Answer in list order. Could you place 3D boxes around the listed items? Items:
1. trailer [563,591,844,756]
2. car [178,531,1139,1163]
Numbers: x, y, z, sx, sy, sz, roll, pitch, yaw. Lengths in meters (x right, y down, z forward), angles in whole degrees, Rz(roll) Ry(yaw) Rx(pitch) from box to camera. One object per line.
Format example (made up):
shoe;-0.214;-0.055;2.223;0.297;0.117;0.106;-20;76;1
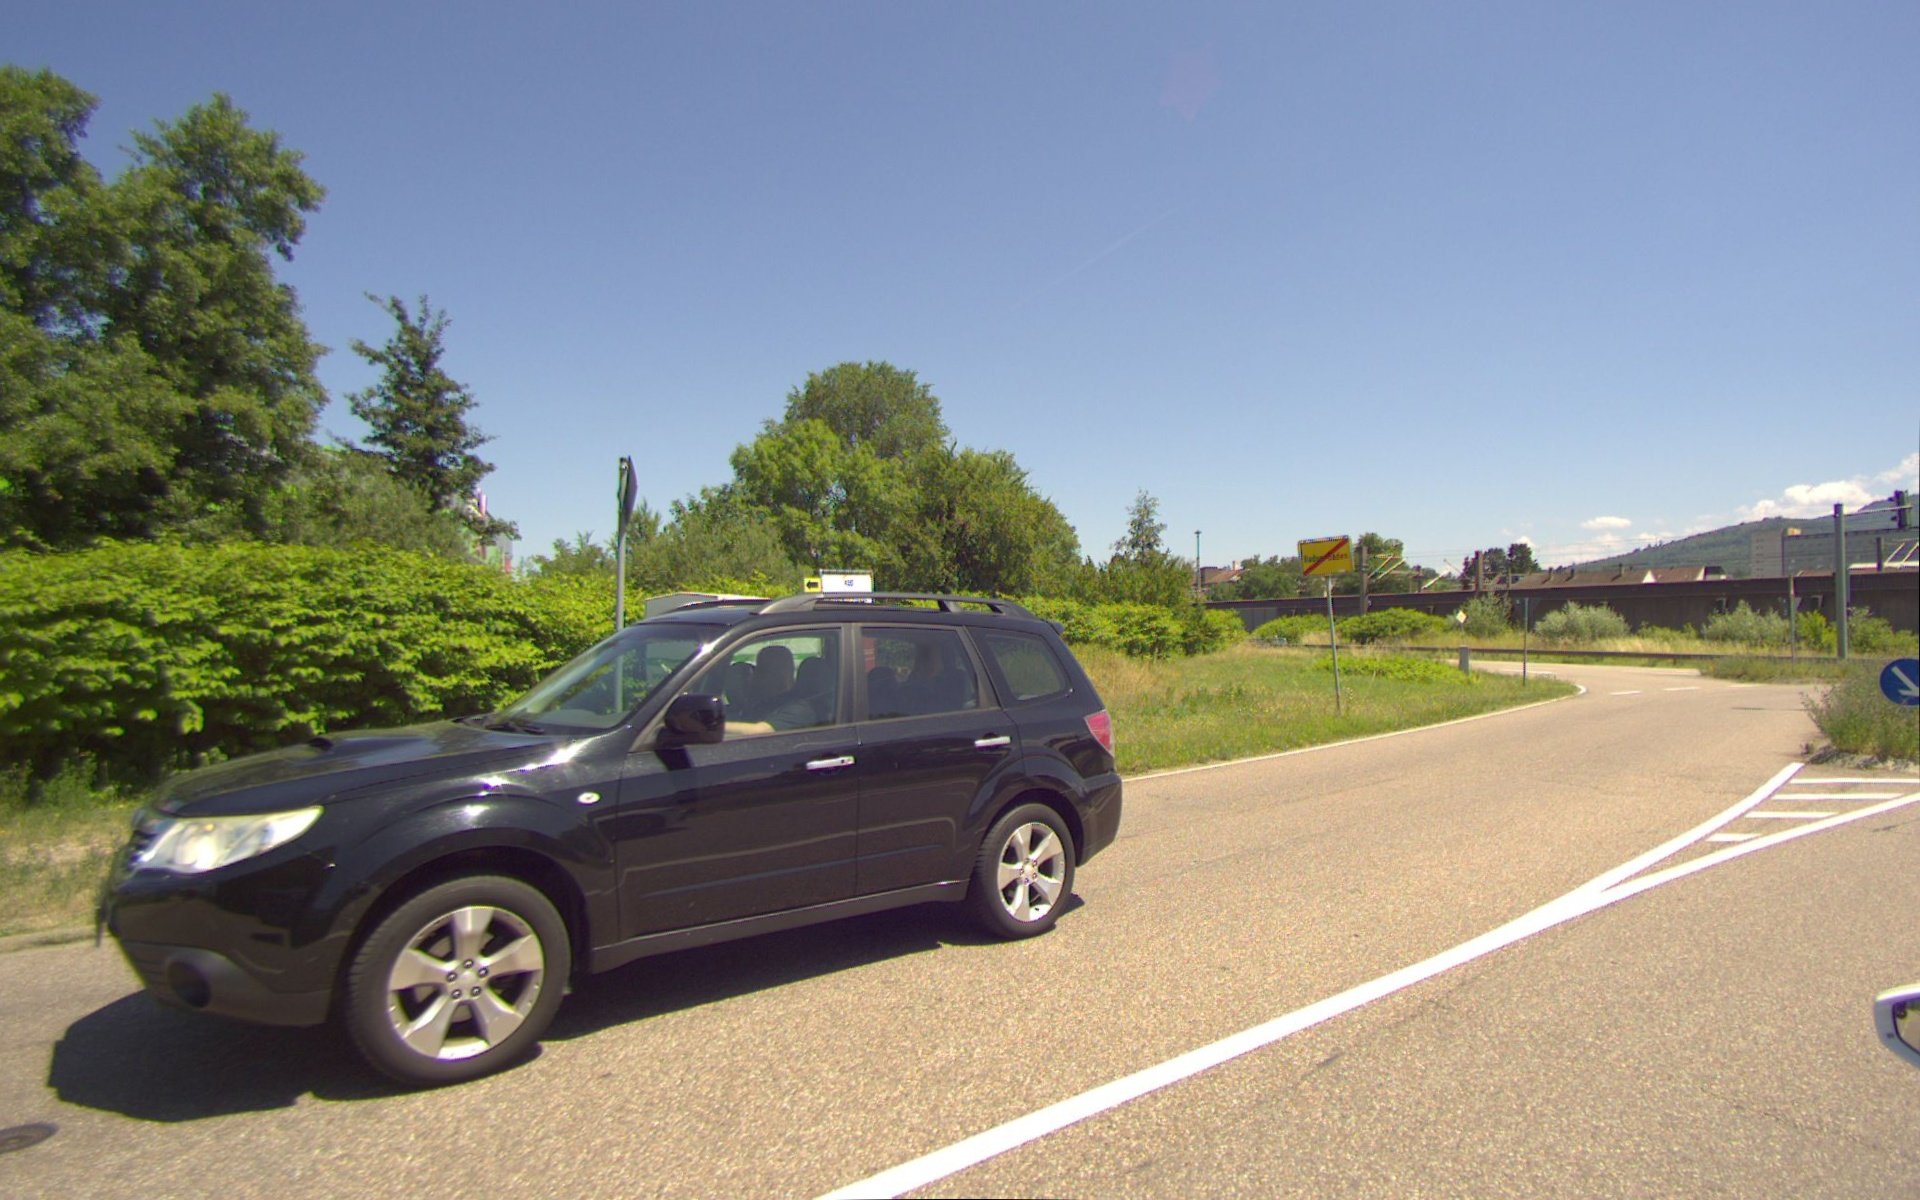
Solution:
trailer;-3.563;0.971;14.716;1.822;2.040;3.956;1;-1;26
car;-1.156;0.758;4.784;3.968;1.724;1.886;2;-3;-40
